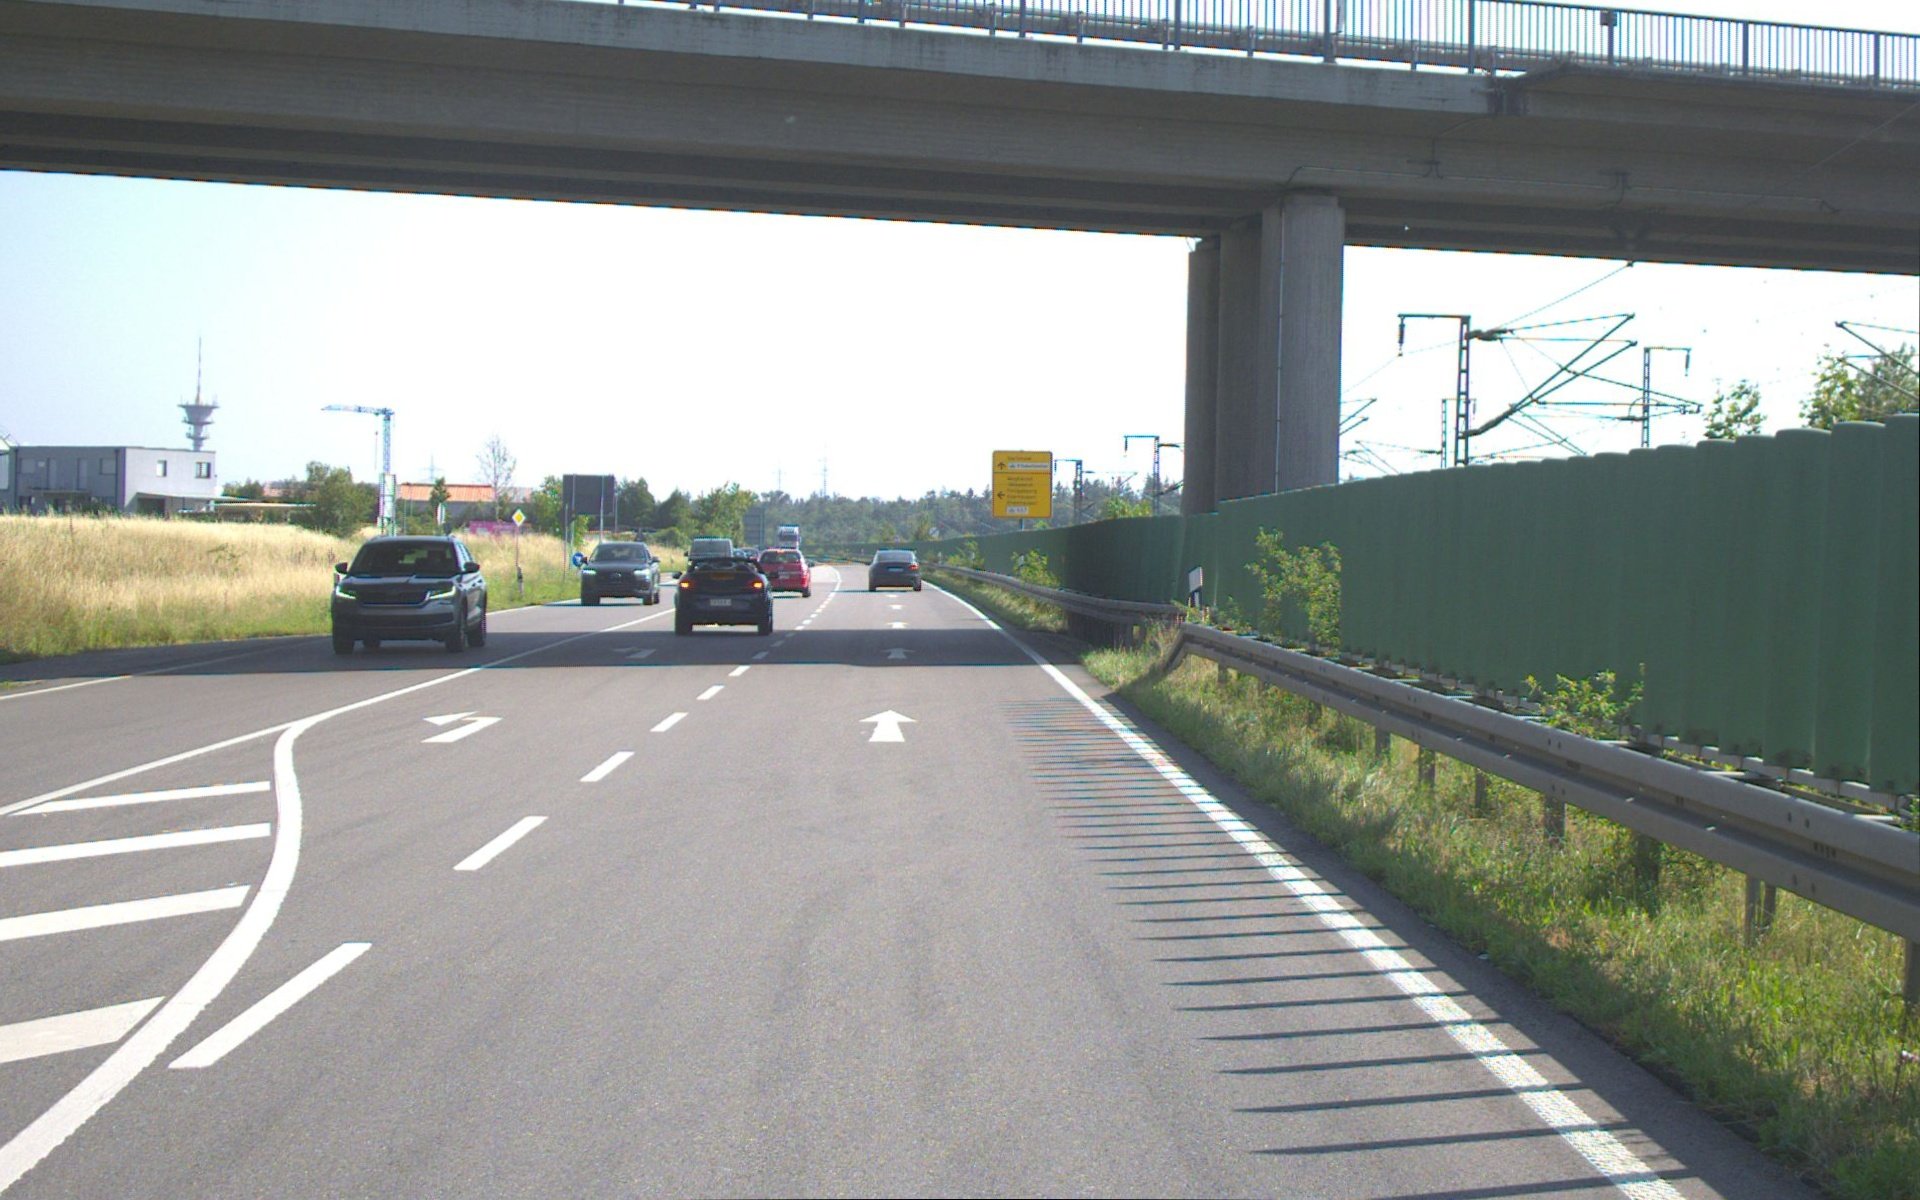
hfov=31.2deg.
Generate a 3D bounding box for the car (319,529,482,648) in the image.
[{"bbox_3d":[-8.016,-0.202,49.532,1.845,1.625,4.001,0,1,-2],"label":"car"}]

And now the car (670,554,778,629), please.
[{"bbox_3d":[-4.102,-0.161,60.247,1.663,1.257,4.000,0,1,-1],"label":"car"}]

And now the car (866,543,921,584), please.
[{"bbox_3d":[-2.330,-1.285,120.903,1.895,1.413,4.000,0,1,-1],"label":"car"}]

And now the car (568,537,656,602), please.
[{"bbox_3d":[-8.862,-0.782,87.848,1.895,1.625,4.000,0,1,-1],"label":"car"}]

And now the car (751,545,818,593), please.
[{"bbox_3d":[-5.393,-0.963,105.887,1.895,1.413,4.000,0,1,-1],"label":"car"}]

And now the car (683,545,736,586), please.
[{"bbox_3d":[-10.100,-1.405,138.864,1.895,1.625,4.000,0,1,-1],"label":"car"}]
